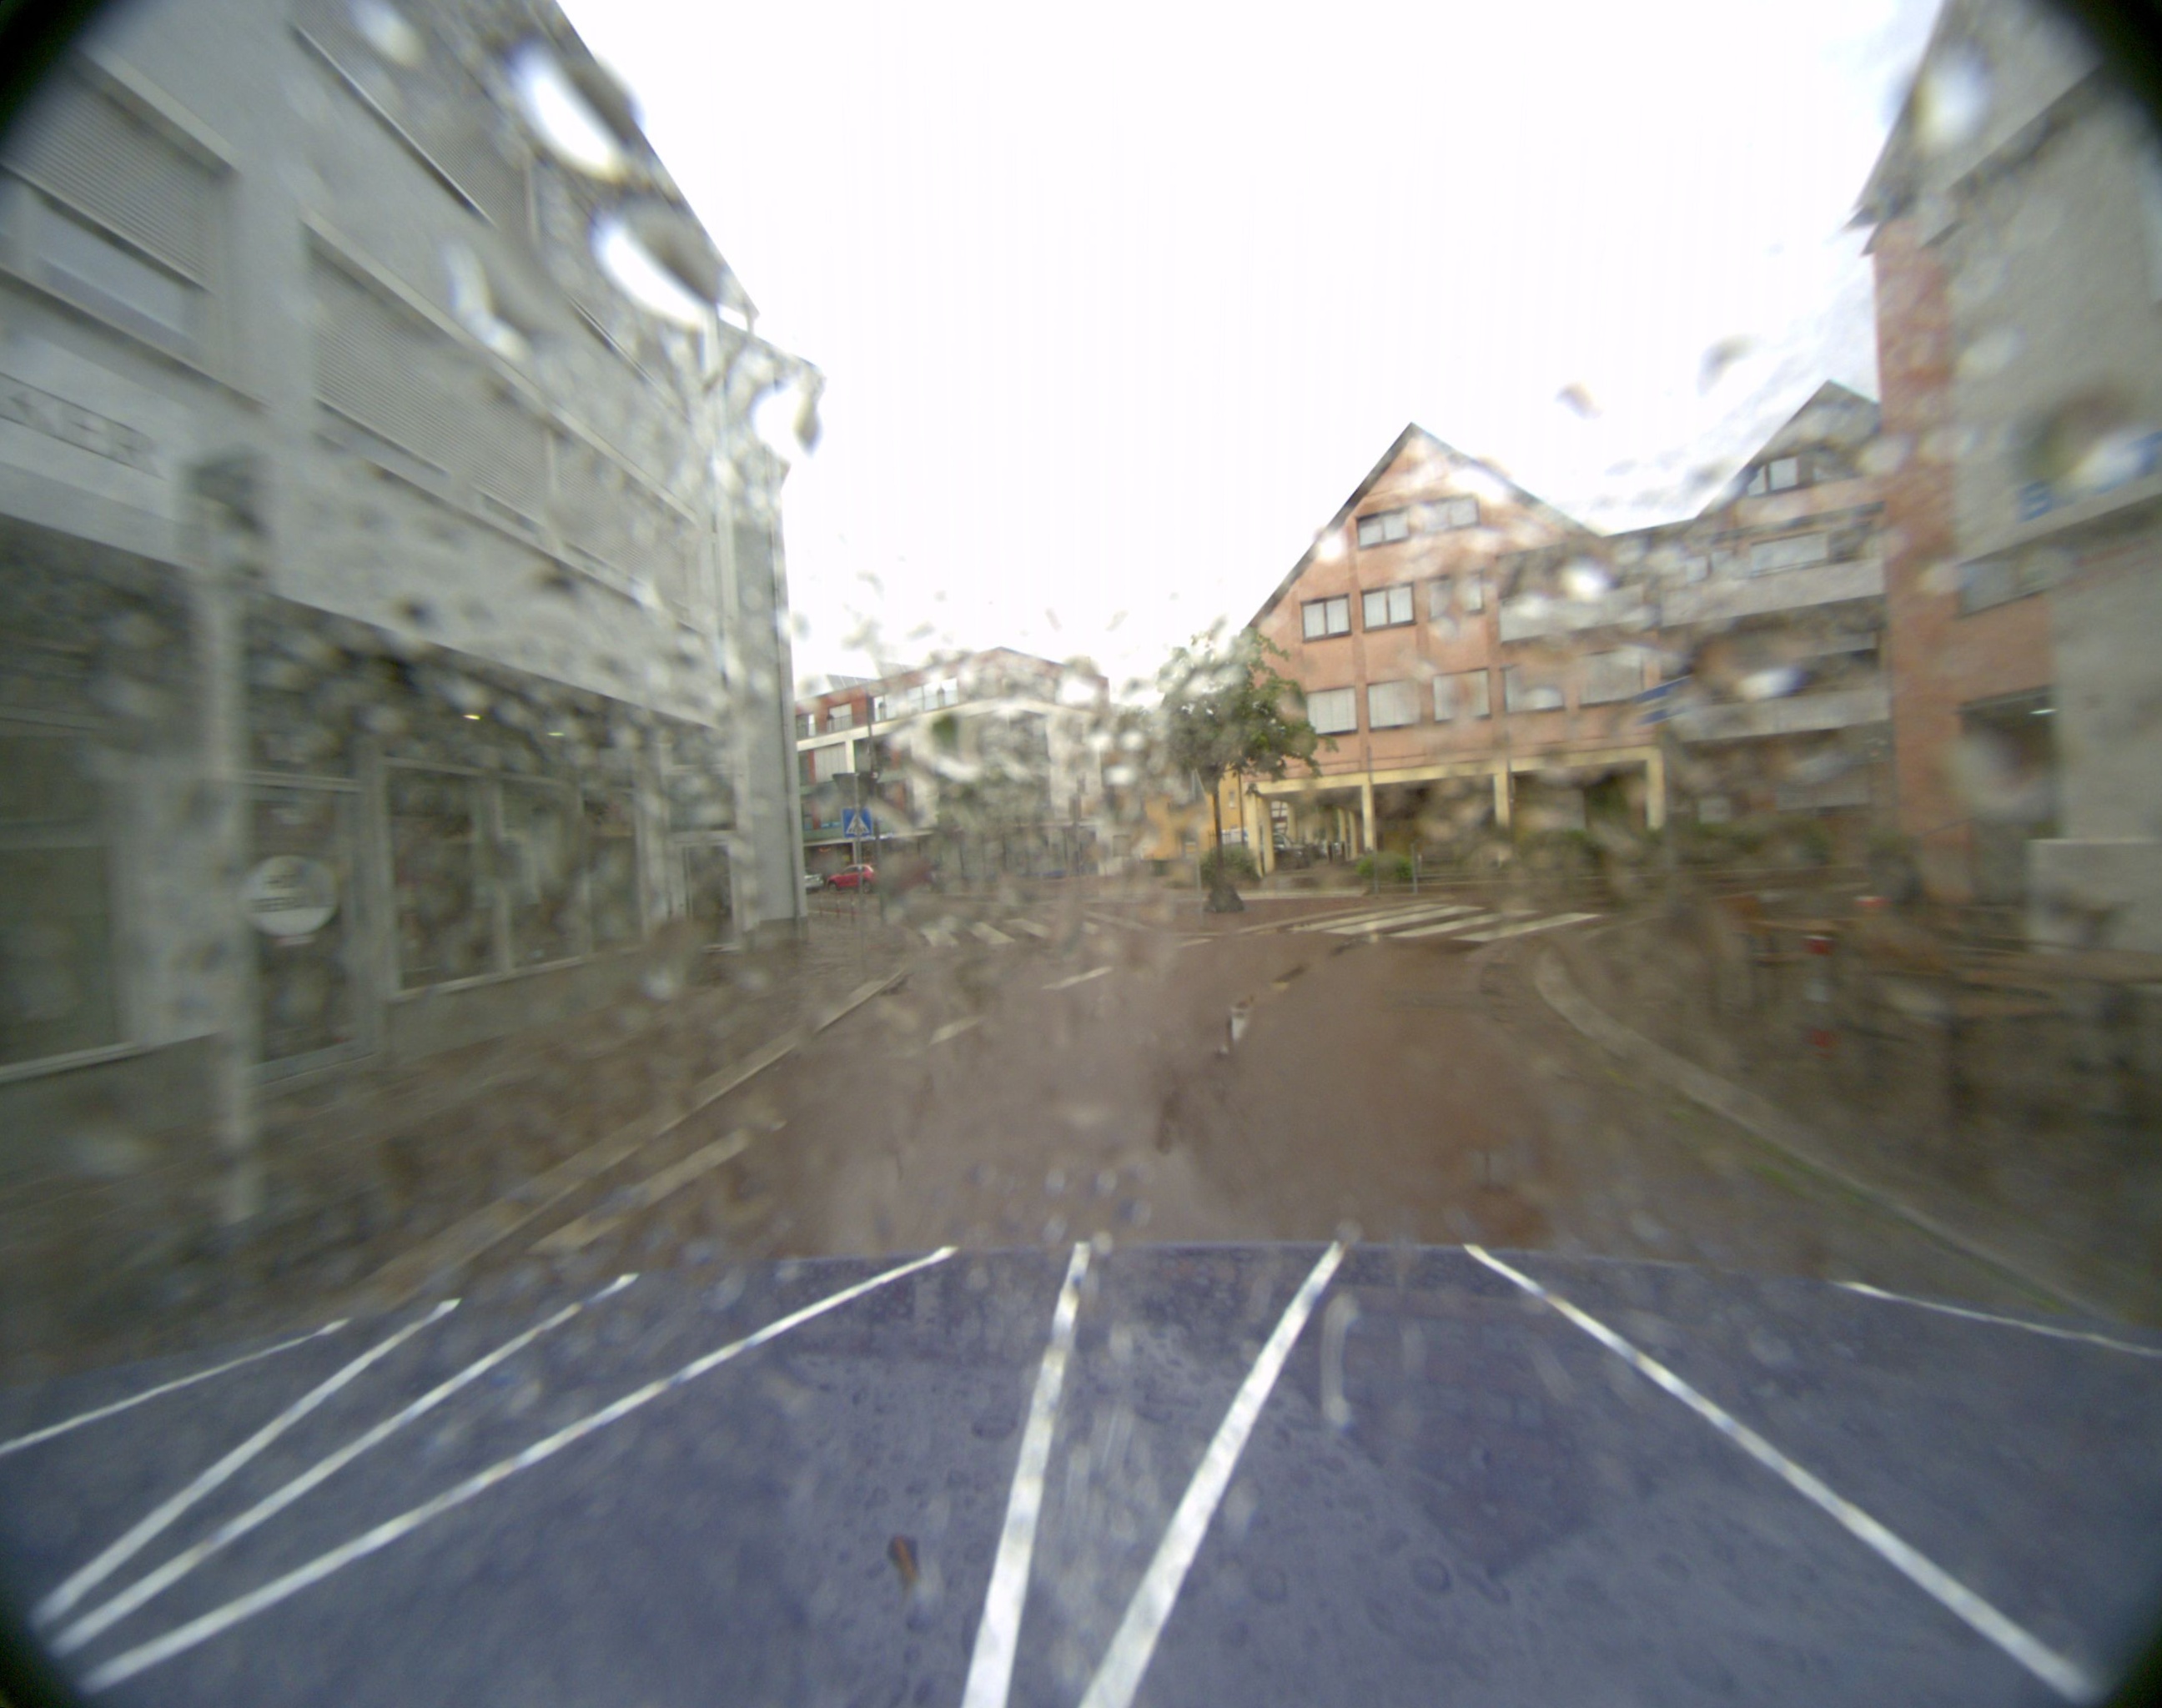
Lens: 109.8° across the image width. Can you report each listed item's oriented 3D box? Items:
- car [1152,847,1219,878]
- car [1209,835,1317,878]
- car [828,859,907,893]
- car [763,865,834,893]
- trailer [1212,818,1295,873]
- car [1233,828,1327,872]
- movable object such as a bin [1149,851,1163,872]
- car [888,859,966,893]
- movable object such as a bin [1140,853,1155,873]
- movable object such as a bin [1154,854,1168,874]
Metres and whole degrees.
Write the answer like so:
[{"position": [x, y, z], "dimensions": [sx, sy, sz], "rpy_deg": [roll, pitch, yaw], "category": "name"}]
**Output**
[{"position": [6.515, 0.511, 47.077], "dimensions": [1.995, 1.500, 4.551], "rpy_deg": [-2, 2, 38], "category": "car"}, {"position": [7.567, 0.101, 31.648], "dimensions": [3.990, 1.500, 1.838], "rpy_deg": [-3, 2, 26], "category": "car"}, {"position": [-11.285, 1.164, 40.099], "dimensions": [3.911, 1.546, 1.806], "rpy_deg": [-3, 2, 34], "category": "car"}, {"position": [-16.091, 1.437, 43.292], "dimensions": [3.851, 1.386, 1.729], "rpy_deg": [-3, 2, 32], "category": "car"}, {"position": [7.758, -0.366, 34.140], "dimensions": [3.086, 2.075, 1.839], "rpy_deg": [-7, -2, 26], "category": "trailer"}, {"position": [9.658, -0.172, 36.938], "dimensions": [3.992, 1.661, 1.839], "rpy_deg": [-7, -2, 26], "category": "car"}, {"position": [4.674, 0.484, 47.372], "dimensions": [0.630, 1.226, 0.524], "rpy_deg": [-2, 3, 37], "category": "movable object such as a bin"}, {"position": [-7.517, 1.074, 37.038], "dimensions": [3.576, 1.428, 1.682], "rpy_deg": [-3, 3, 38], "category": "car"}, {"position": [4.062, 0.550, 46.536], "dimensions": [0.630, 1.226, 0.524], "rpy_deg": [-2, 3, 37], "category": "movable object such as a bin"}, {"position": [5.070, 0.622, 47.923], "dimensions": [0.630, 1.226, 0.524], "rpy_deg": [-2, 3, 37], "category": "movable object such as a bin"}]
